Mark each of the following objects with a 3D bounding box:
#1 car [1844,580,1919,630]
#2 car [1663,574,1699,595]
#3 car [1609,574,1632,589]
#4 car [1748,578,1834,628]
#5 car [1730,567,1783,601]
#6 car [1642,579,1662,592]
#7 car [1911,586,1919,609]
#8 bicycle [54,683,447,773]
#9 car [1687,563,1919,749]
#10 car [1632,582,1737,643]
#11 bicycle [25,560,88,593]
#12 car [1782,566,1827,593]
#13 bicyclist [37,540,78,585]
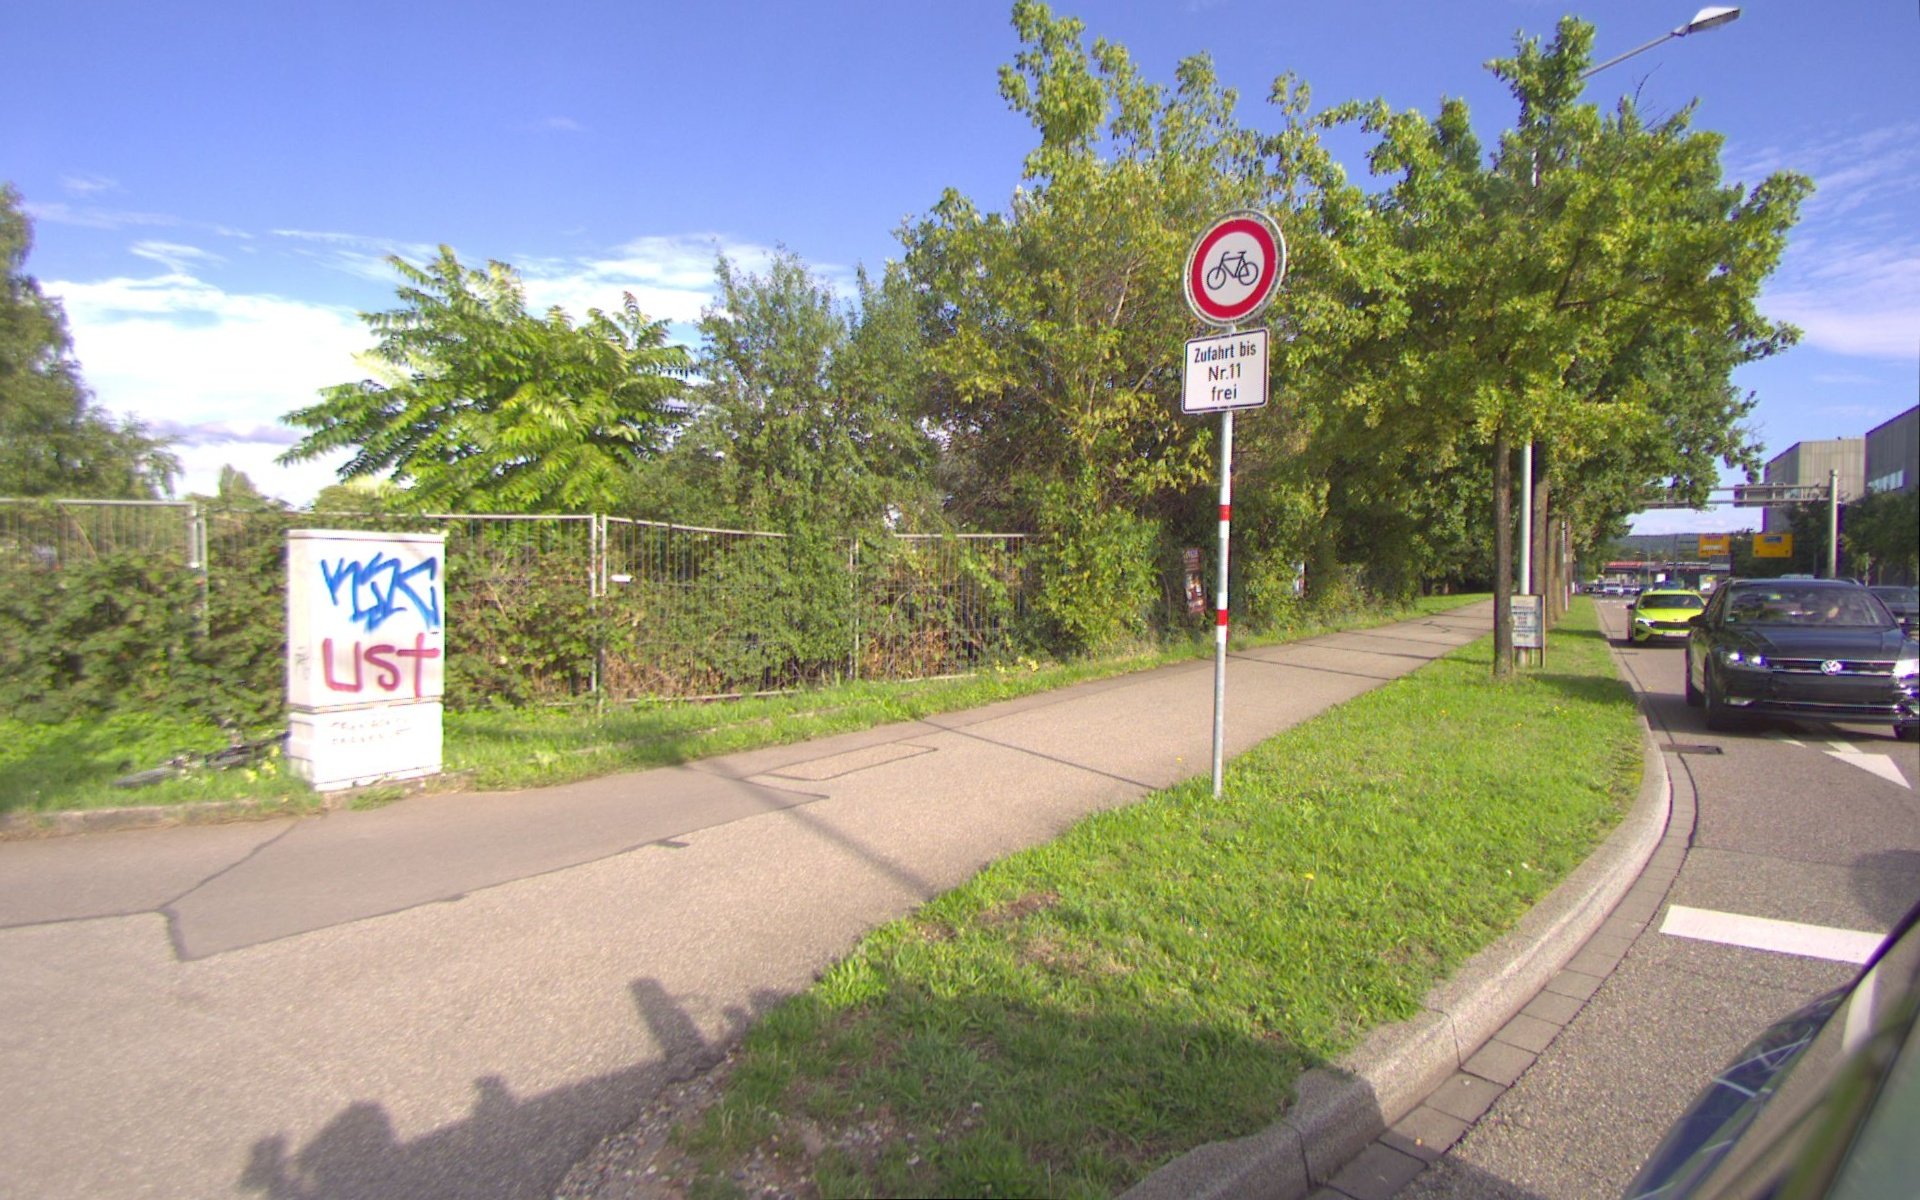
[{"bbox_3d":[28.951,0.102,31.126,1.809,1.438,4.400,0,1,30],"label":"car"},{"bbox_3d":[59.567,-1.284,83.699,1.984,1.682,4.752,1,2,30],"label":"car"},{"bbox_3d":[64.172,-1.763,98.385,1.725,1.407,3.955,1,2,32],"label":"car"},{"bbox_3d":[26.515,0.050,32.396,1.683,1.493,4.177,0,1,33],"label":"car"},{"bbox_3d":[43.020,-0.885,54.719,1.681,1.492,4.185,-1,4,31],"label":"car"},{"bbox_3d":[81.847,-1.732,119.770,1.725,1.407,3.955,1,2,32],"label":"car"},{"bbox_3d":[61.860,-0.161,63.922,1.842,1.451,4.023,1,2,32],"label":"car"},{"bbox_3d":[-4.468,0.795,6.686,1.069,0.350,2.250,0,-1,-2],"label":"bicycle"},{"bbox_3d":[9.774,0.468,11.760,1.859,1.716,4.956,-2,1,33],"label":"car"},{"bbox_3d":[19.000,0.287,26.713,1.882,1.438,4.557,-1,1,32],"label":"car"},{"bbox_3d":[-31.979,-0.845,35.855,0.787,1.140,2.607,0,2,-21],"label":"bicycle"},{"bbox_3d":[76.283,-1.871,91.480,2.016,2.282,5.484,3,3,30],"label":"car"},{"bbox_3d":[-31.963,-1.321,35.857,0.787,1.566,0.907,0,1,-22],"label":"bicyclist"}]
